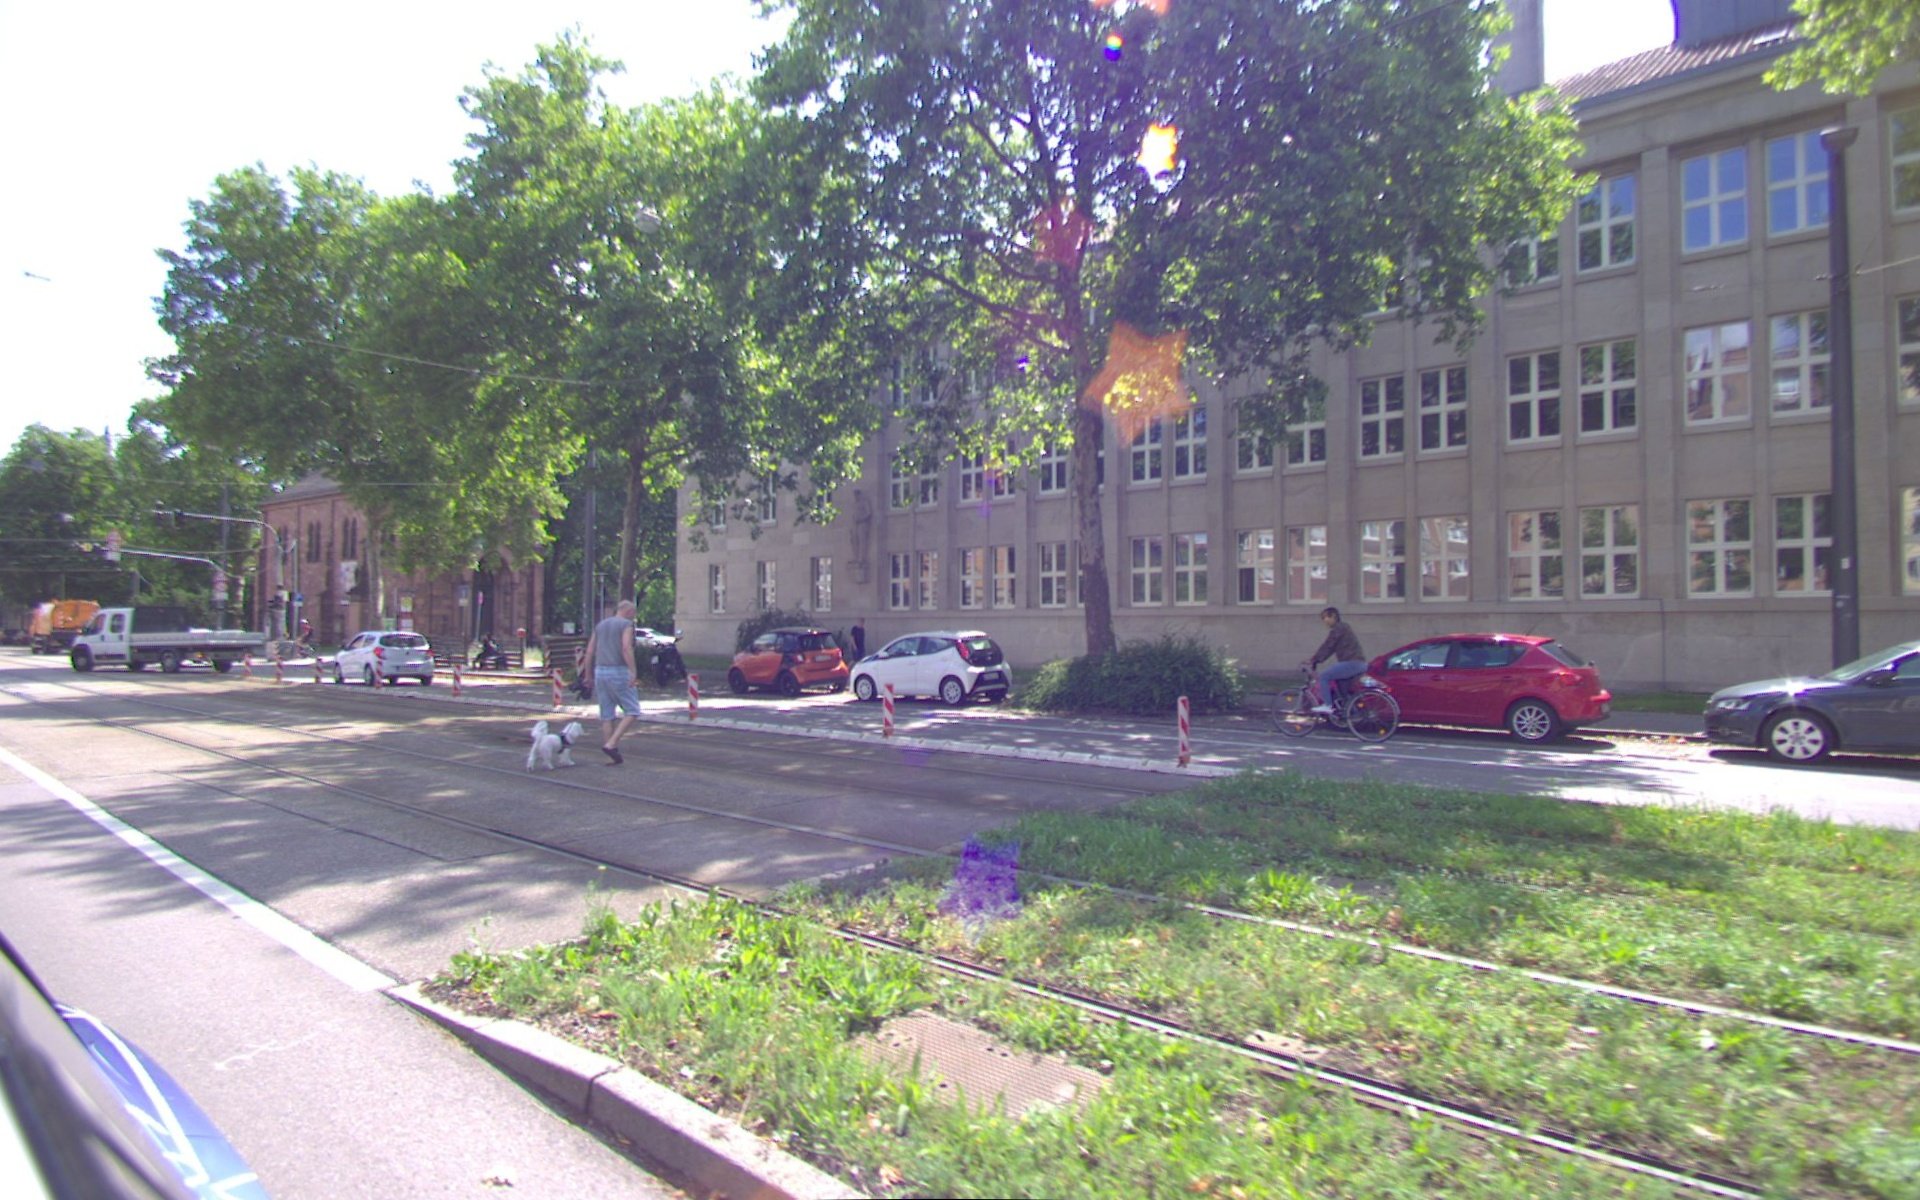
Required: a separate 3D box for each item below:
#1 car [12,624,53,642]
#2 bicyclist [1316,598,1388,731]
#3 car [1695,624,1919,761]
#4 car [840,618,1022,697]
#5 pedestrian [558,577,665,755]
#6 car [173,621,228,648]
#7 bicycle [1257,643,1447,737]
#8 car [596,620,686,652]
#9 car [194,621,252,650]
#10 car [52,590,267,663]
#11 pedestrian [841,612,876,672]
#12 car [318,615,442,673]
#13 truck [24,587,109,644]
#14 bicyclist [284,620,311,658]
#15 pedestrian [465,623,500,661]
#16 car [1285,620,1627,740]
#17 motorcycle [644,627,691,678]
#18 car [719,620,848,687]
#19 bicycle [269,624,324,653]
[{"bbox_3d":[-81.716,2.880,89.158,3.989,1.508,1.742,-1,-1,34],"label":"car"},{"bbox_3d":[5.255,0.832,13.552,0.780,1.717,0.756,-1,-1,31],"label":"bicyclist"},{"bbox_3d":[10.823,0.978,11.147,4.312,1.379,1.907,-2,-1,39],"label":"car"},{"bbox_3d":[-0.646,1.142,21.032,3.487,1.465,1.729,-2,-1,39],"label":"car"},{"bbox_3d":[-3.524,0.644,10.260,0.697,1.717,0.778,-1,-1,21],"label":"pedestrian"},{"bbox_3d":[-43.862,1.964,58.434,3.998,1.508,1.738,-1,-1,41],"label":"car"},{"bbox_3d":[5.230,1.159,13.569,2.269,1.118,0.784,-1,-1,32],"label":"bicycle"},{"bbox_3d":[-17.224,1.939,54.690,4.362,1.620,1.755,0,-2,11],"label":"car"},{"bbox_3d":[-40.389,1.919,55.432,3.998,1.508,1.738,-1,-1,41],"label":"car"},{"bbox_3d":[-27.676,0.913,35.018,6.919,2.392,2.251,0,-2,17],"label":"car"},{"bbox_3d":[-2.806,1.148,27.990,0.795,1.603,0.548,-1,-1,40],"label":"pedestrian"},{"bbox_3d":[-16.175,1.244,28.179,3.784,1.491,1.742,-2,-5,40],"label":"car"},{"bbox_3d":[-52.317,0.934,59.191,7.218,3.130,2.612,-1,-4,41],"label":"truck"},{"bbox_3d":[-31.727,1.855,48.496,0.660,1.798,0.875,-1,0,32],"label":"bicyclist"},{"bbox_3d":[-16.591,1.459,35.143,0.913,1.221,0.747,-1,3,42],"label":"pedestrian"},{"bbox_3d":[7.013,1.050,14.525,4.047,1.431,1.906,-2,-1,41],"label":"car"},{"bbox_3d":[-7.915,1.405,27.461,0.537,1.184,2.106,-4,1,2],"label":"motorcycle"},{"bbox_3d":[-4.192,1.230,23.916,2.879,1.465,1.472,-2,-1,39],"label":"car"},{"bbox_3d":[-31.754,1.820,48.467,0.670,1.299,2.065,-1,0,33],"label":"bicycle"}]
